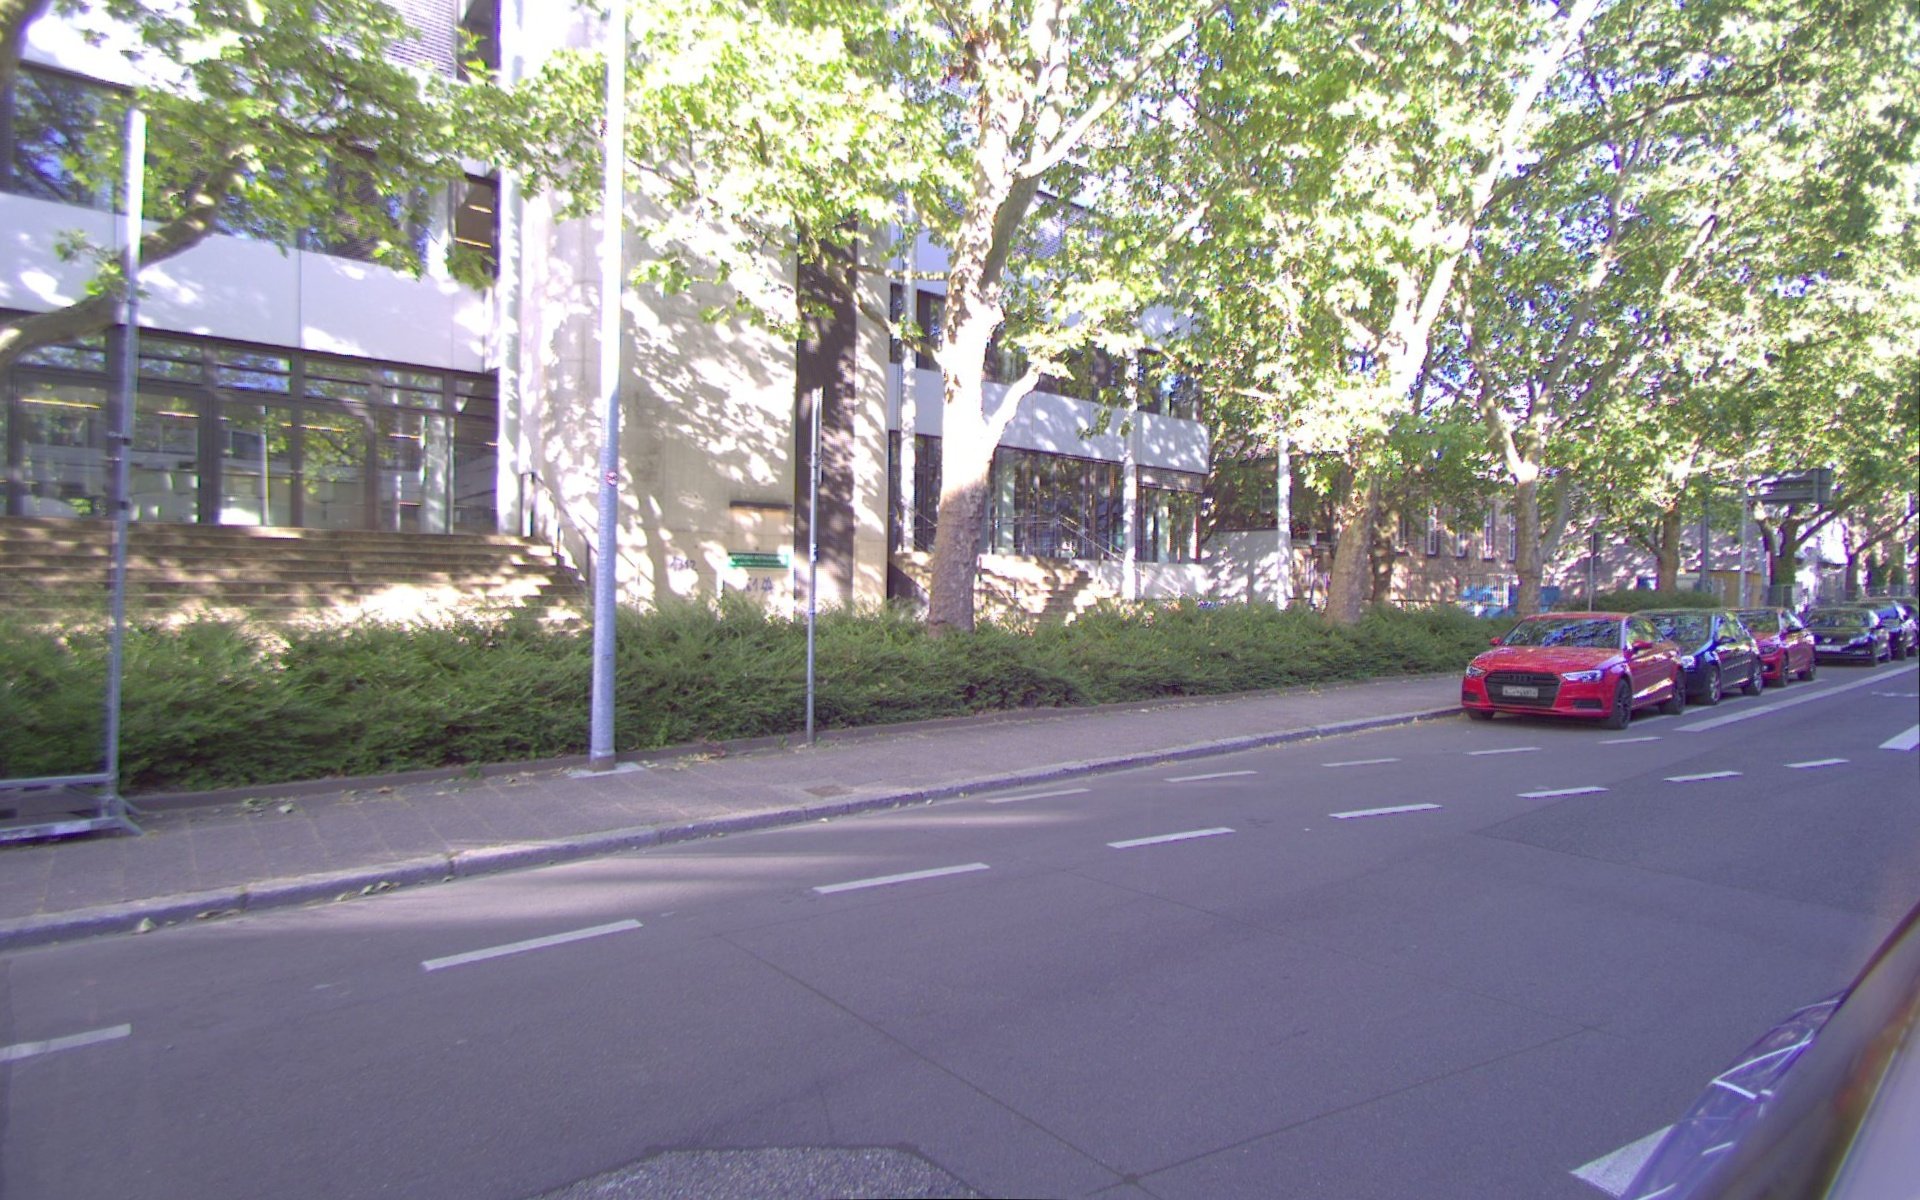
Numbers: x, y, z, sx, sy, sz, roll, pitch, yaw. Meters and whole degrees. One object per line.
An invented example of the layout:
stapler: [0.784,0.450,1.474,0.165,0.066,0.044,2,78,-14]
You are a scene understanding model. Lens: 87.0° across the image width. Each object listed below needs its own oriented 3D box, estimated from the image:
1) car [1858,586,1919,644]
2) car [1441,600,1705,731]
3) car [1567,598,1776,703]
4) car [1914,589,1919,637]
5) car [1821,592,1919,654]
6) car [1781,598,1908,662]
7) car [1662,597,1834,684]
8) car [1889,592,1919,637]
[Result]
car: [31.272,0.445,33.315,4.493,1.809,1.997,-1,0,-41]
car: [8.265,0.747,13.528,3.930,1.443,1.906,-1,1,-41]
car: [11.705,0.725,16.584,3.581,1.478,1.997,-1,0,-41]
car: [39.608,0.480,40.271,3.930,1.872,1.997,-1,0,-41]
car: [26.537,0.604,29.190,4.070,1.621,1.997,-1,0,-41]
car: [22.808,0.716,26.066,3.527,1.474,1.997,-1,0,-41]
car: [15.658,0.713,20.060,3.762,1.517,1.997,-1,0,-41]
car: [36.038,0.524,37.462,4.070,1.585,1.997,-1,0,-41]
